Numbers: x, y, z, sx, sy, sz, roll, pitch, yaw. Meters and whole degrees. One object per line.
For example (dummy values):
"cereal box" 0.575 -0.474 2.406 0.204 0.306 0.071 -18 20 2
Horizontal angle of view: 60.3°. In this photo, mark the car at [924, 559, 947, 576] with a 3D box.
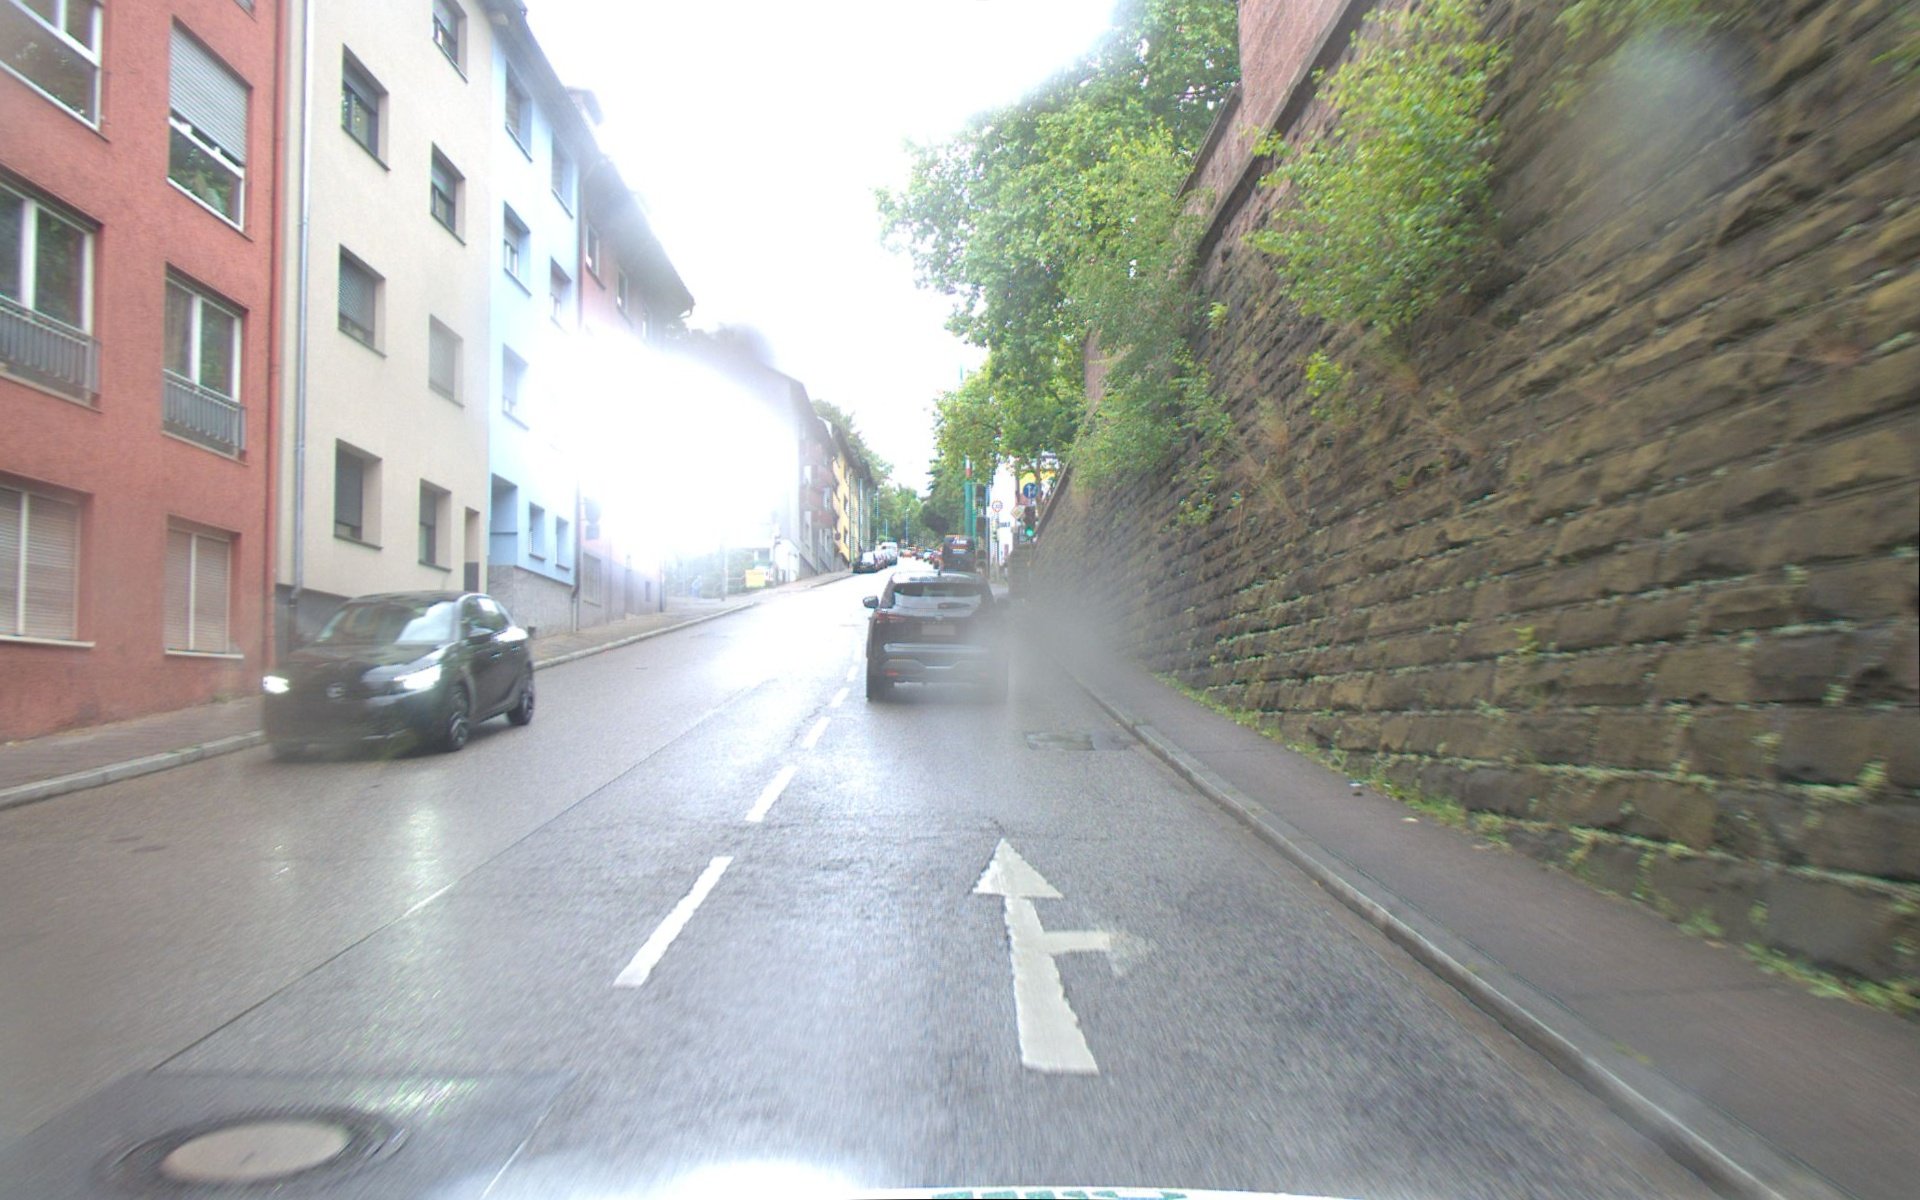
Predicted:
"car" -2.308 -3.048 154.813 2.033 1.586 3.999 0 2 -2

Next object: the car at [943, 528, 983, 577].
"car" 0.193 -2.521 89.464 1.952 2.456 5.837 1 0 2

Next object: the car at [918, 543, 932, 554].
"car" -5.269 -7.690 247.240 2.033 1.586 3.999 0 2 -2

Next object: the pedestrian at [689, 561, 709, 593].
"pedestrian" -12.958 -1.128 82.260 0.852 1.568 1.086 1 0 -4

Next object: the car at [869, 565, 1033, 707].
"car" -0.134 0.388 21.895 1.953 1.586 4.000 1 2 -1

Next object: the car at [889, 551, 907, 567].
"car" -6.913 -4.522 183.650 1.950 1.786 4.479 -1 1 -2

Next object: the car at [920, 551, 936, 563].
"car" -4.271 -5.761 219.588 2.033 1.586 3.999 0 2 -2

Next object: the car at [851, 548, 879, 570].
"car" -7.807 -3.384 136.589 1.952 1.679 4.442 -1 -1 1

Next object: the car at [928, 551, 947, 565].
"car" -2.578 -4.786 189.780 2.033 1.586 3.999 0 2 -2

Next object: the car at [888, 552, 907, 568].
"car" -6.661 -4.251 177.186 1.950 1.613 4.303 -1 0 -2

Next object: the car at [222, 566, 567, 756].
"car" -5.282 0.514 16.052 1.953 1.504 3.999 -3 0 -1
